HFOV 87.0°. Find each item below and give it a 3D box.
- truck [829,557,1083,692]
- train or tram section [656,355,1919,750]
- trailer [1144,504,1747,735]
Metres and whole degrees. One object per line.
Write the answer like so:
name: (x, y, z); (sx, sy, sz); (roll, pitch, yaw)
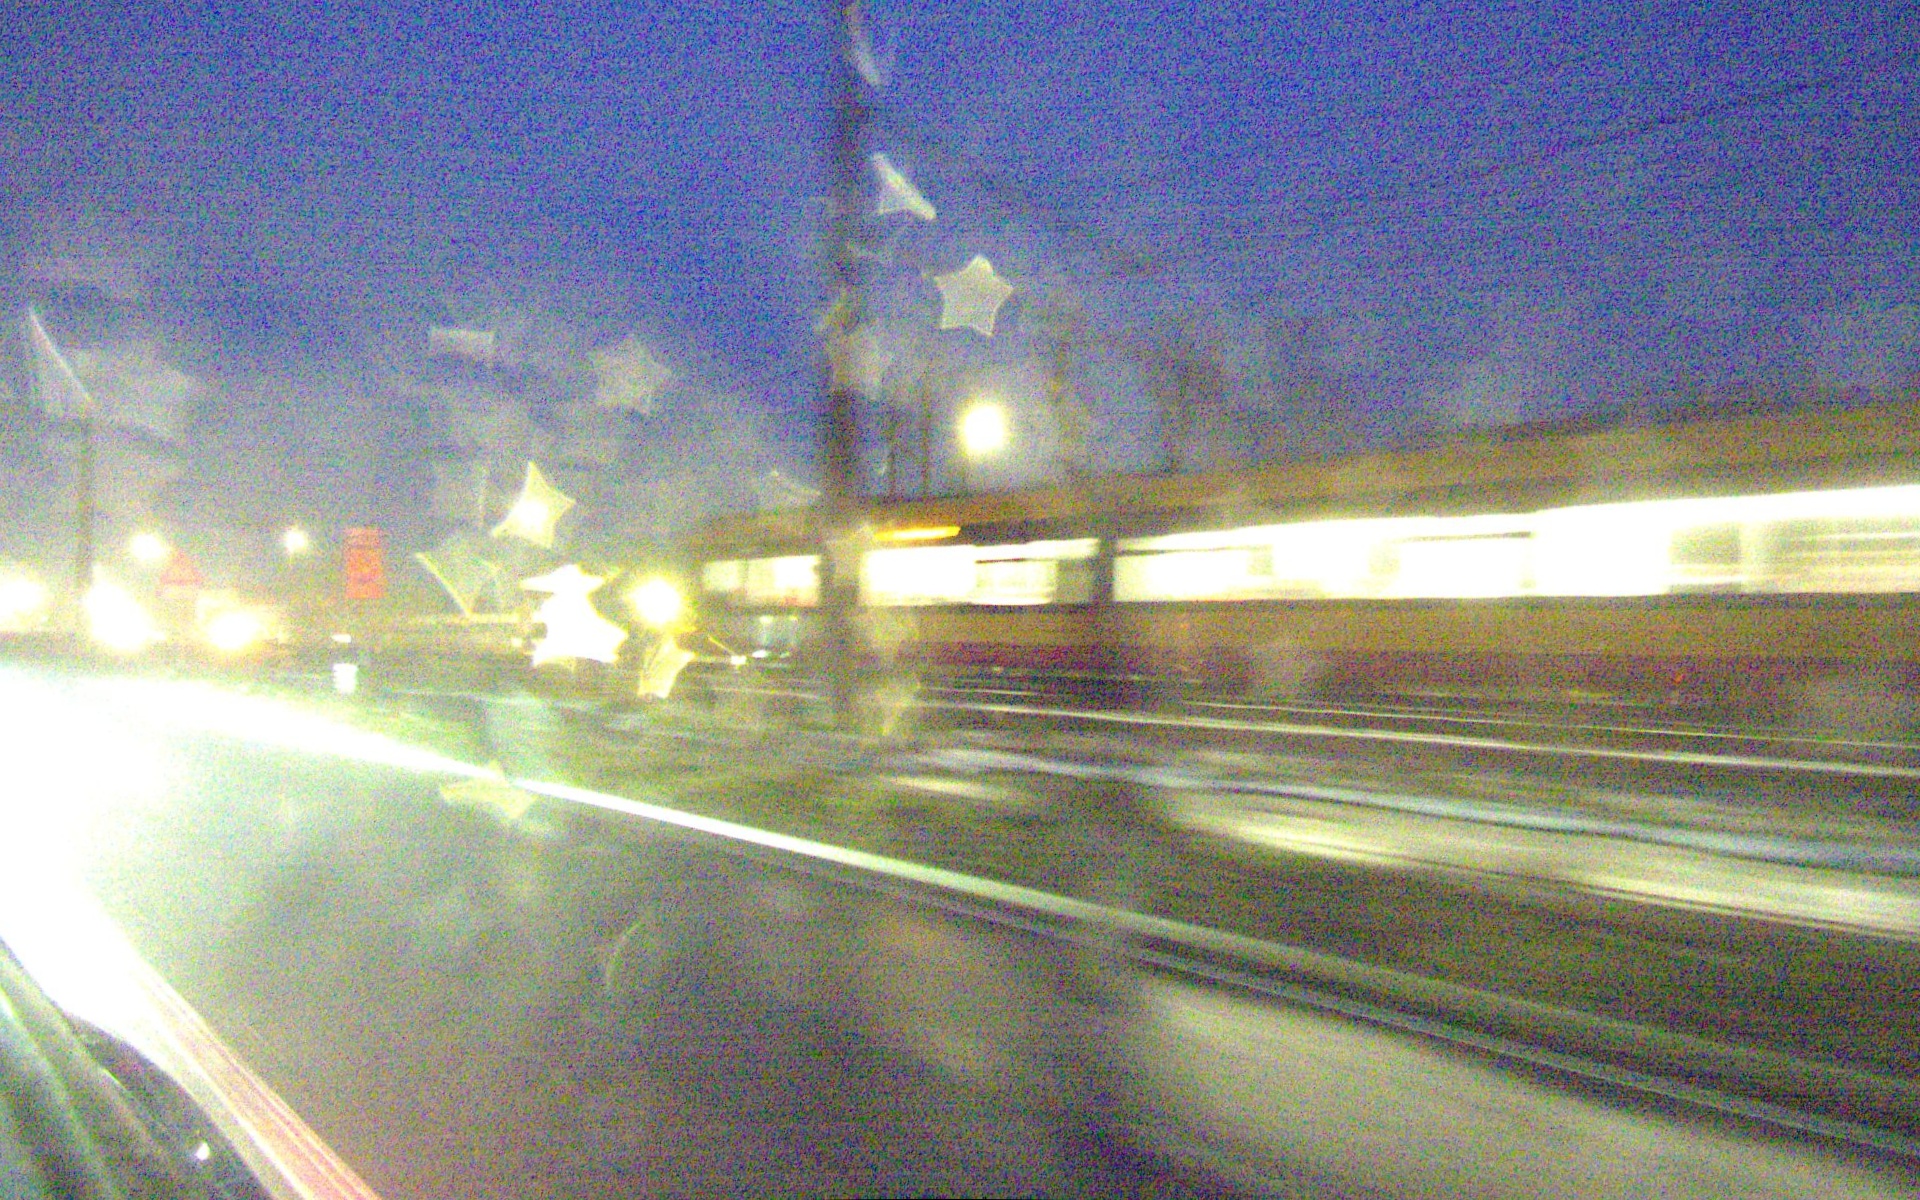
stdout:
truck: (-0.411, 0.867, 39.531); (10.206, 4.644, 3.404); (-1, 0, 40)
train or tram section: (7.581, -0.447, 13.183); (37.124, 3.843, 2.668); (-1, 0, 41)
trailer: (12.682, 0.471, 28.513); (14.825, 5.050, 3.930); (-1, 0, 40)
